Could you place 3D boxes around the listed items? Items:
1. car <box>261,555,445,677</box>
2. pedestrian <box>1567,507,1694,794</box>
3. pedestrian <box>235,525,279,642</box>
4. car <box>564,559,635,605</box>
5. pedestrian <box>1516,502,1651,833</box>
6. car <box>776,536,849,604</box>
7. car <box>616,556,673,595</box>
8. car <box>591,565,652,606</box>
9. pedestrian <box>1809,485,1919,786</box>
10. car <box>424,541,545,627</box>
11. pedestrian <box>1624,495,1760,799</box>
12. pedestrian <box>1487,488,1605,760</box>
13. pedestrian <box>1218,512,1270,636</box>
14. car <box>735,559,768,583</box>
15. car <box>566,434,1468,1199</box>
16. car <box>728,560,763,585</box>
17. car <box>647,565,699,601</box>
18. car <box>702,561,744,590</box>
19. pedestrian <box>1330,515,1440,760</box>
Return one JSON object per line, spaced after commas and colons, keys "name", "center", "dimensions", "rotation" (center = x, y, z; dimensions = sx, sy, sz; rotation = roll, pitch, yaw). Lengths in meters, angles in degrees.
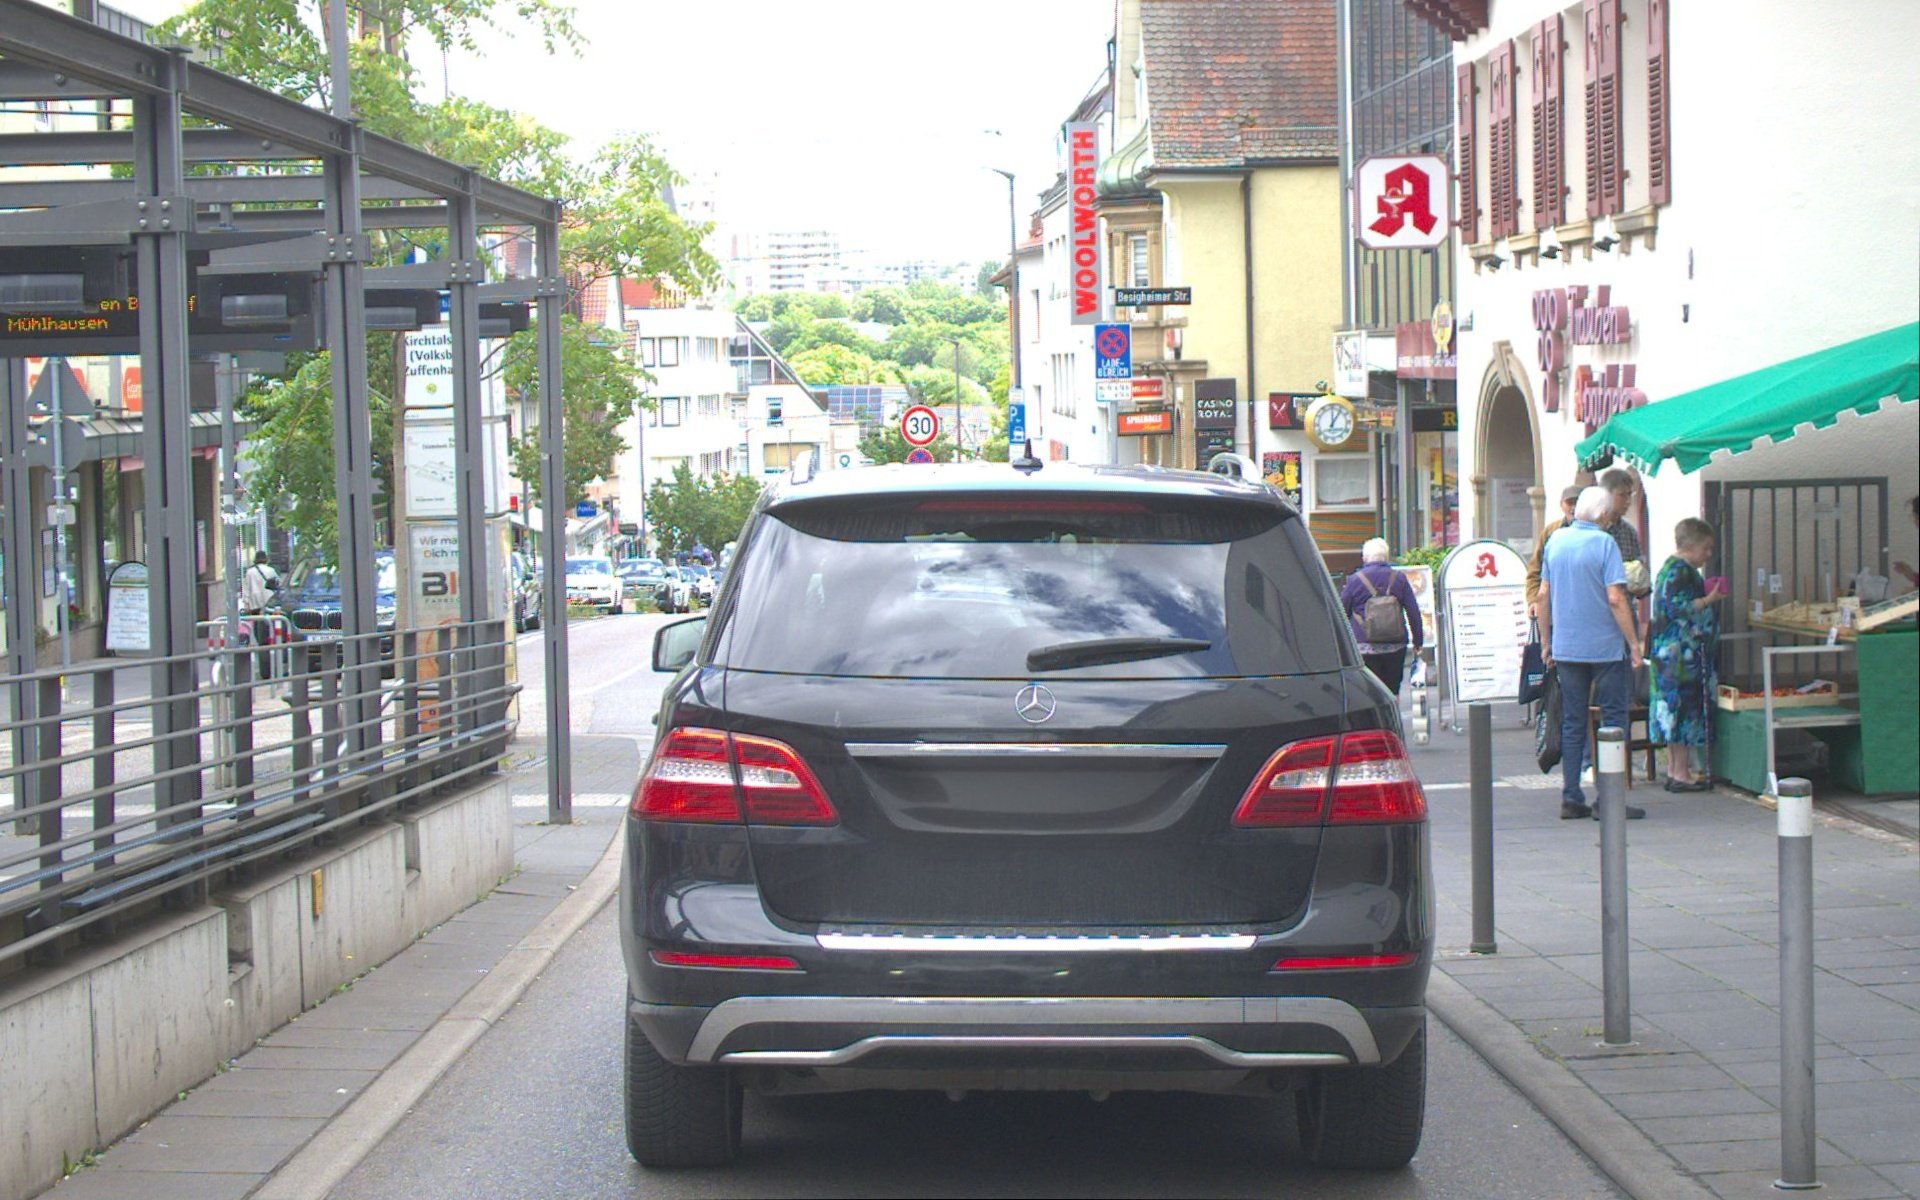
{"name": "car", "center": [-7.867, 0.172, 44.868], "dimensions": [1.689, 1.484, 3.979], "rotation": [1, 1, 0]}
{"name": "pedestrian", "center": [3.990, 0.293, 20.485], "dimensions": [0.573, 1.683, 0.566], "rotation": [1, 1, -6]}
{"name": "pedestrian", "center": [-10.215, -0.237, 49.971], "dimensions": [0.513, 1.683, 0.541], "rotation": [1, 1, -1]}
{"name": "car", "center": [-8.863, -0.451, 84.709], "dimensions": [1.388, 1.066, 3.113], "rotation": [-1, 1, 0]}
{"name": "pedestrian", "center": [3.311, 0.346, 18.277], "dimensions": [0.542, 1.720, 0.528], "rotation": [-2, 1, -6]}
{"name": "car", "center": [-3.820, -0.798, 89.429], "dimensions": [1.770, 1.707, 4.000], "rotation": [1, 1, -1]}
{"name": "car", "center": [-9.338, -0.728, 101.905], "dimensions": [1.388, 1.066, 3.113], "rotation": [-1, 1, 0]}
{"name": "car", "center": [-9.442, -0.404, 96.086], "dimensions": [1.388, 1.066, 3.113], "rotation": [-1, 1, 0]}
{"name": "pedestrian", "center": [5.244, 0.190, 19.634], "dimensions": [0.573, 1.683, 0.566], "rotation": [-2, 1, -6]}
{"name": "car", "center": [-8.553, -0.310, 62.119], "dimensions": [1.660, 1.484, 3.748], "rotation": [1, 1, 0]}
{"name": "pedestrian", "center": [4.148, 0.255, 19.497], "dimensions": [0.573, 1.683, 0.566], "rotation": [-2, 1, -6]}
{"name": "pedestrian", "center": [3.958, 0.153, 23.247], "dimensions": [0.639, 1.803, 0.685], "rotation": [1, 1, -1]}
{"name": "pedestrian", "center": [3.923, -0.366, 47.488], "dimensions": [0.606, 1.683, 0.724], "rotation": [-1, 1, -1]}
{"name": "car", "center": [-9.920, -1.380, 163.696], "dimensions": [1.388, 1.066, 3.113], "rotation": [-1, 1, 0]}
{"name": "car", "center": [0.051, 0.495, 9.322], "dimensions": [1.900, 1.741, 4.001], "rotation": [1, 1, -2]}
{"name": "car", "center": [-9.870, -1.272, 158.408], "dimensions": [1.388, 1.066, 3.113], "rotation": [-1, 1, 0]}
{"name": "car", "center": [-9.170, -0.552, 109.904], "dimensions": [1.388, 1.066, 3.113], "rotation": [-1, 1, 0]}
{"name": "car", "center": [-9.034, -0.943, 131.130], "dimensions": [1.388, 1.066, 3.113], "rotation": [-1, 1, 0]}
{"name": "pedestrian", "center": [2.957, 0.253, 23.942], "dimensions": [0.621, 1.683, 0.566], "rotation": [1, 1, -6]}
